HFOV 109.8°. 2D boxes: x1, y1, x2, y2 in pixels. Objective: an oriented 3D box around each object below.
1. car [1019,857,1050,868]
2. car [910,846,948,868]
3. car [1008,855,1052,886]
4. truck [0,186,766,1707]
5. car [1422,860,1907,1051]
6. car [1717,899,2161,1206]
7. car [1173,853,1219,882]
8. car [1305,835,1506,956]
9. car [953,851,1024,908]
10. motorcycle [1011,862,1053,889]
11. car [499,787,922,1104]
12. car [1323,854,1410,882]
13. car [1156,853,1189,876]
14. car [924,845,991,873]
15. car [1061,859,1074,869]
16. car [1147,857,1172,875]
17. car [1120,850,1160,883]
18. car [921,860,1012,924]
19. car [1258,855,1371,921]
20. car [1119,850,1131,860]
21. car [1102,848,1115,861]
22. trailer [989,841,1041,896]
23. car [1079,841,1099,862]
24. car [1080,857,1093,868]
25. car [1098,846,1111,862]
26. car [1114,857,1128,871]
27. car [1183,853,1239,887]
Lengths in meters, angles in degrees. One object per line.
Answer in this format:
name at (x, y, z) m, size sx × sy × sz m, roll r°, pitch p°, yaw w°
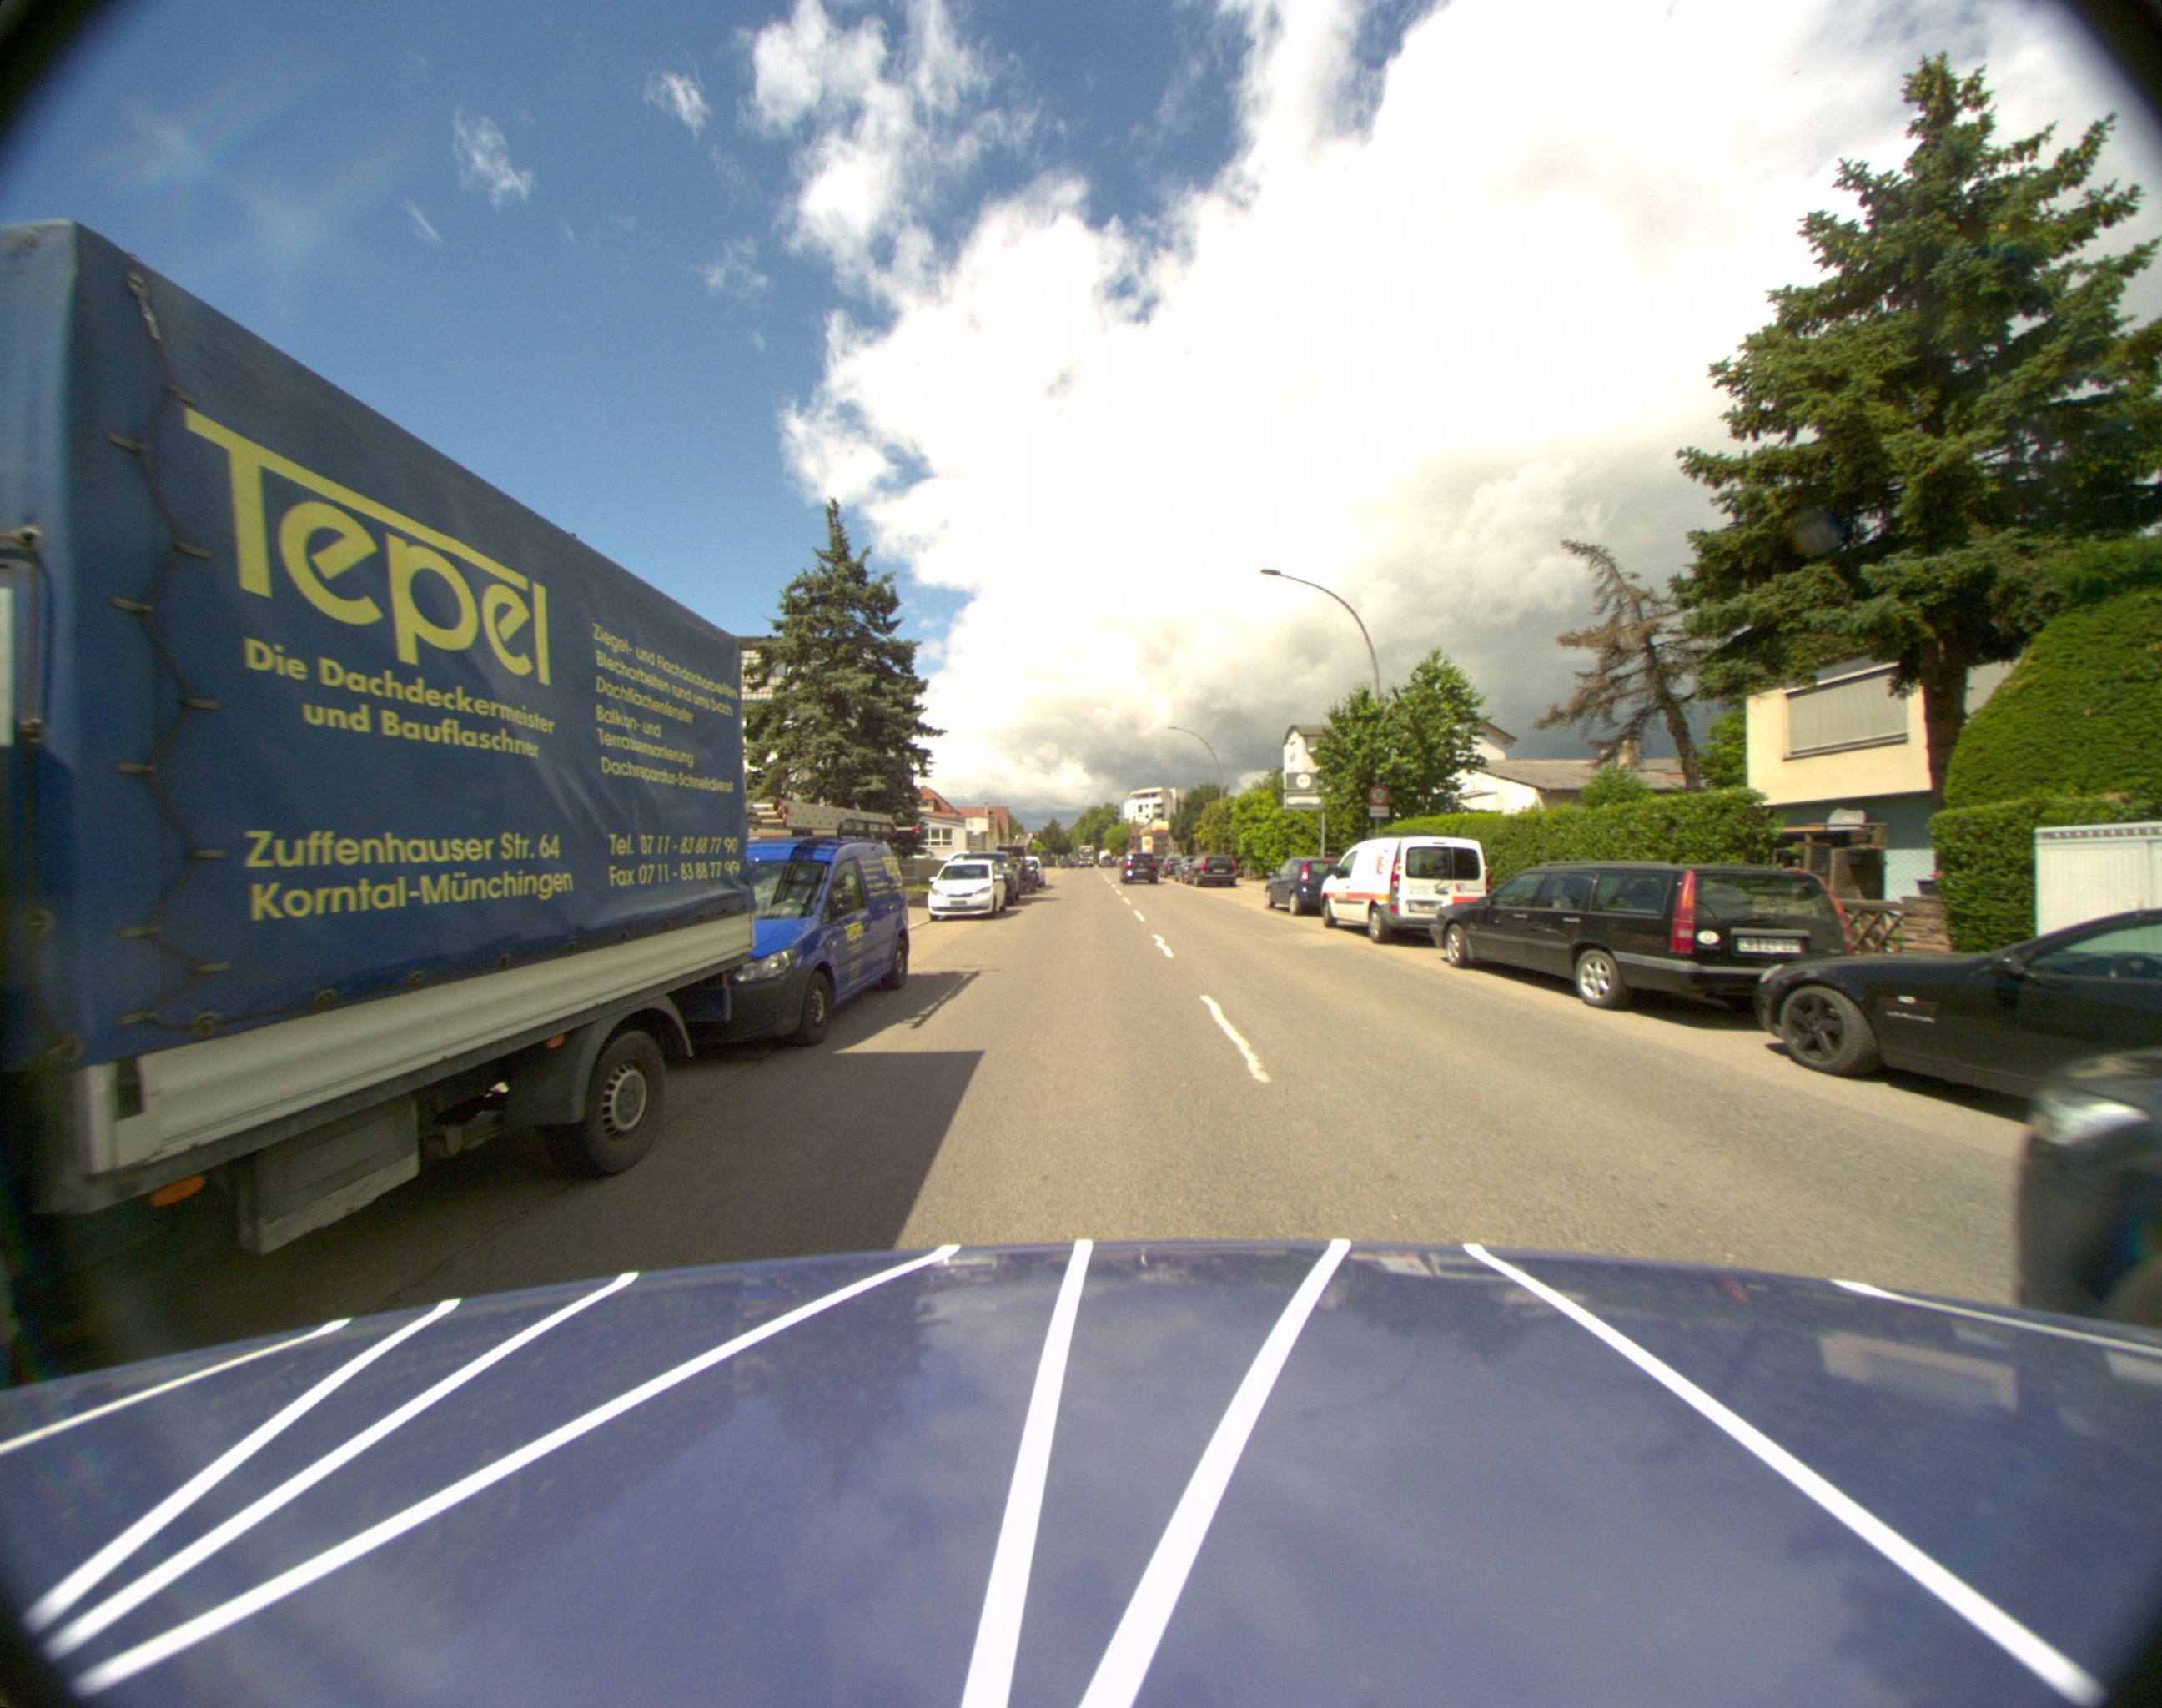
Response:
car at (-6.627, 1.208, 108.460) m, size 4.419 × 1.399 × 1.974 m, roll 2°, pitch 0°, yaw -3°
car at (-11.555, 0.288, 57.972) m, size 1.634 × 1.510 × 3.667 m, roll 3°, pitch -1°, yaw 8°
car at (-2.509, 0.815, 38.329) m, size 1.723 × 1.423 × 3.984 m, roll 1°, pitch 0°, yaw 3°
truck at (-3.313, 0.216, 1.917) m, size 2.326 × 3.079 × 6.042 m, roll -2°, pitch 0°, yaw 1°
car at (5.784, 0.843, 8.490) m, size 1.748 × 1.463 × 4.643 m, roll 3°, pitch 0°, yaw -1°
car at (5.861, 1.030, 3.883) m, size 1.635 × 1.296 × 4.116 m, roll 3°, pitch 0°, yaw -2°
car at (6.124, 0.713, 40.904) m, size 1.724 × 1.423 × 4.199 m, roll 1°, pitch 0°, yaw -1°
car at (5.762, 0.671, 14.167) m, size 1.748 × 1.827 × 4.355 m, roll 3°, pitch 0°, yaw -1°
car at (-2.950, 0.774, 25.162) m, size 1.878 × 1.717 × 4.712 m, roll 0°, pitch 0°, yaw -1°
motorcycle at (-2.274, 0.994, 35.140) m, size 1.826 × 1.202 × 0.715 m, roll 0°, pitch 0°, yaw -35°
car at (-3.072, 0.651, 7.565) m, size 1.878 × 2.156 × 4.464 m, roll -2°, pitch 0°, yaw 1°
car at (15.627, 0.757, 41.676) m, size 3.987 × 1.379 × 1.897 m, roll 2°, pitch 0°, yaw 40°
car at (5.927, 0.687, 49.641) m, size 1.667 × 1.406 × 4.338 m, roll 1°, pitch 0°, yaw 0°
car at (-8.421, 0.356, 52.022) m, size 4.202 × 1.644 × 1.867 m, roll 3°, pitch 0°, yaw 0°
car at (-2.020, 1.543, 117.537) m, size 1.789 × 1.548 × 4.317 m, roll -2°, pitch 0°, yaw 1°
car at (6.509, 0.998, 63.357) m, size 1.667 × 1.427 × 4.338 m, roll 2°, pitch 0°, yaw 0°
car at (3.018, 0.622, 39.729) m, size 1.748 × 1.618 × 4.356 m, roll -1°, pitch 0°, yaw 0°
car at (-2.916, 0.932, 20.108) m, size 1.777 × 1.499 × 4.000 m, roll 0°, pitch 0°, yaw 0°
car at (5.985, 0.811, 19.959) m, size 1.644 × 1.478 × 4.000 m, roll 3°, pitch 0°, yaw -1°
car at (6.769, 0.131, 116.897) m, size 1.666 × 1.505 × 3.945 m, roll 3°, pitch 0°, yaw 1°
car at (3.882, 0.135, 108.466) m, size 1.667 × 1.785 × 4.338 m, roll 1°, pitch 0°, yaw -1°
trailer at (-2.679, 0.554, 31.556) m, size 1.777 × 2.132 × 4.114 m, roll 0°, pitch 0°, yaw 0°
car at (1.362, -0.397, 137.425) m, size 3.263 × 3.595 × 10.269 m, roll -2°, pitch -1°, yaw -1°
car at (0.775, 1.300, 117.342) m, size 1.891 × 1.708 × 3.999 m, roll 1°, pitch 0°, yaw -1°
car at (4.128, 0.023, 135.247) m, size 1.997 × 2.749 × 6.164 m, roll 1°, pitch 0°, yaw 0°
car at (5.622, 1.381, 106.554) m, size 1.733 × 1.727 × 4.190 m, roll 3°, pitch 0°, yaw 0°
car at (6.079, 0.722, 35.917) m, size 1.724 × 1.484 × 4.735 m, roll 1°, pitch 0°, yaw -1°
